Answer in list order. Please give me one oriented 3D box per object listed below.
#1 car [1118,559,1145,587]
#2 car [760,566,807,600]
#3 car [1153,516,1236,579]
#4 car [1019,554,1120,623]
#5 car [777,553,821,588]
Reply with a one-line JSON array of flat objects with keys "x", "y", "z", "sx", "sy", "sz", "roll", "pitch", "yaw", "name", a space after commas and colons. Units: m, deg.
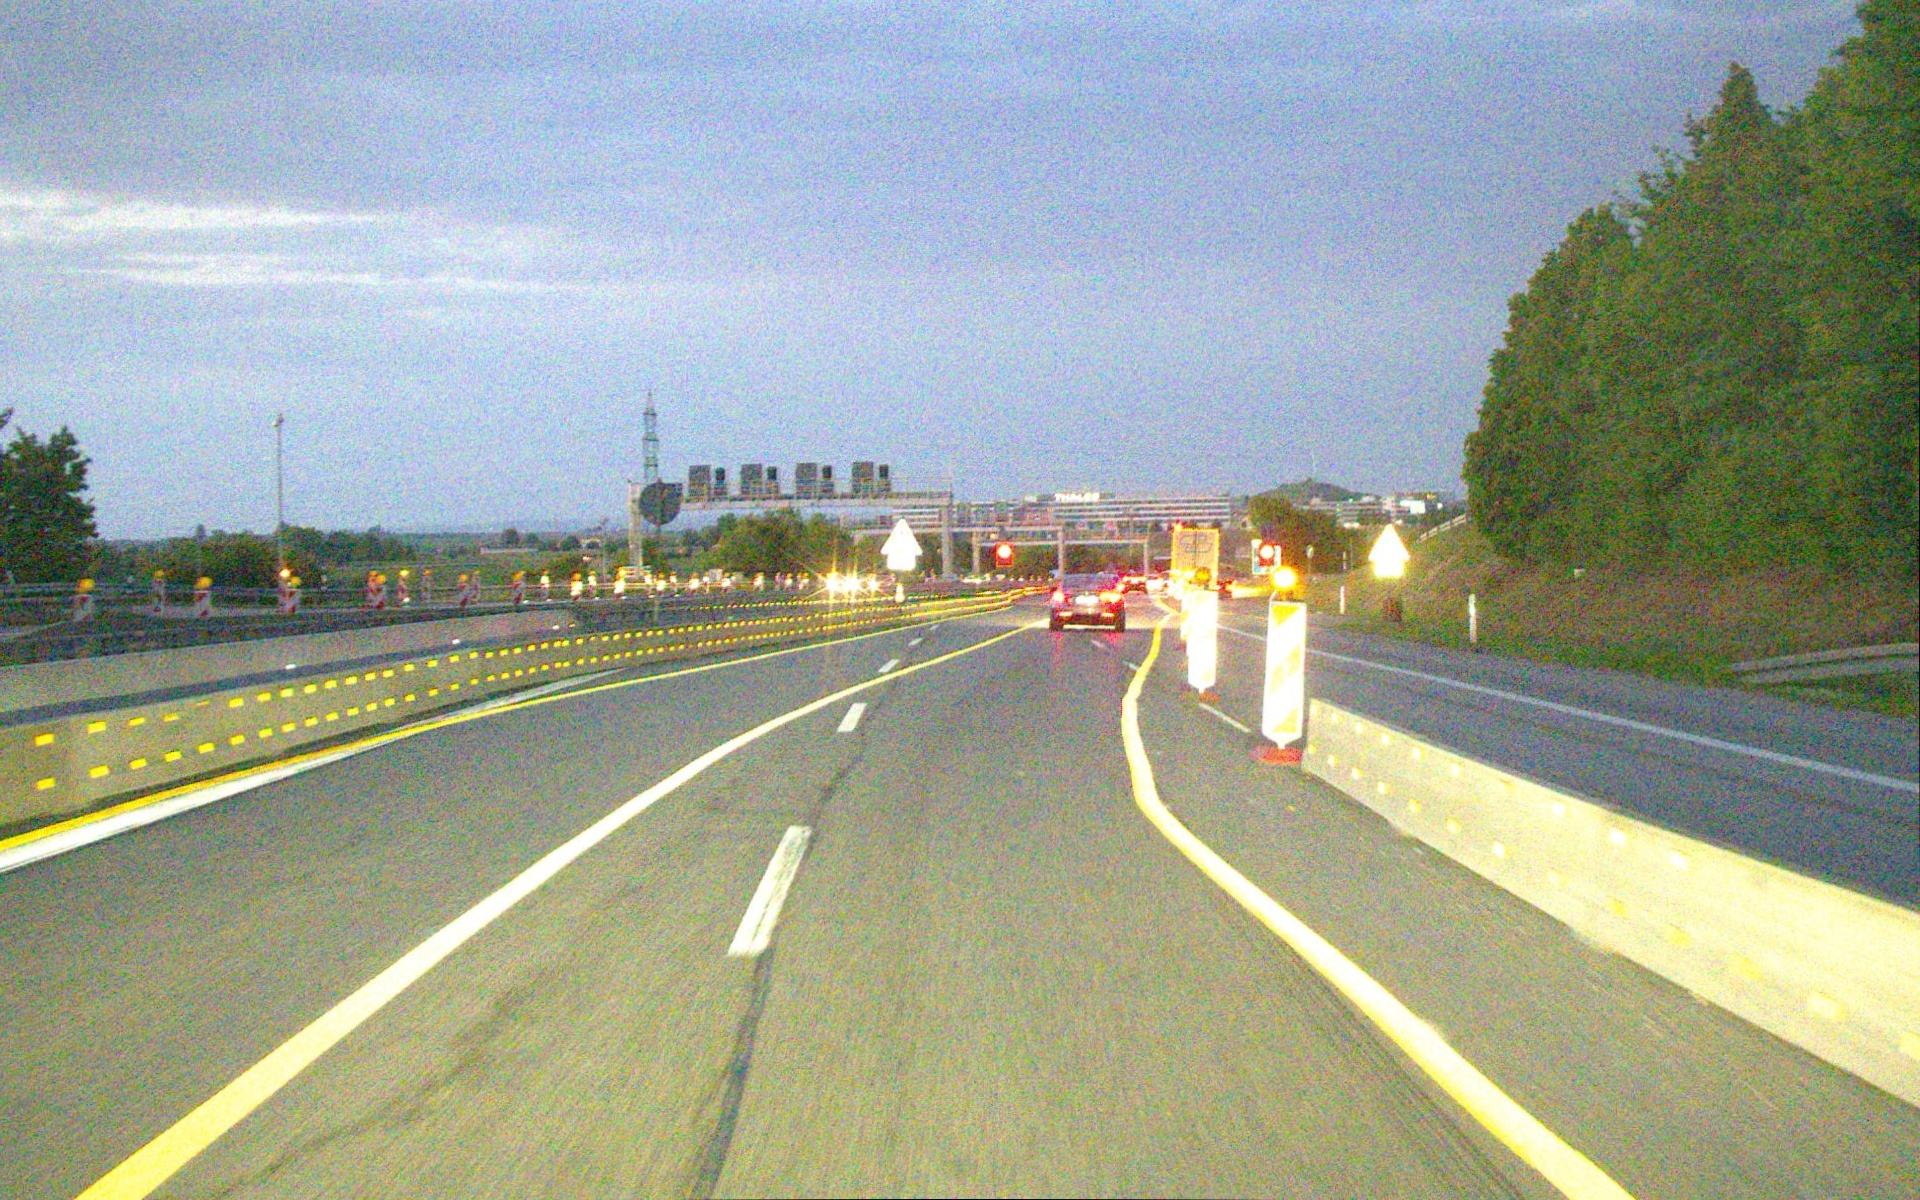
[{"x": 12.937, "y": -2.039, "z": 259.906, "sx": 1.994, "sy": 2.007, "sz": 4.000, "roll": 1, "pitch": 0, "yaw": 3, "name": "car"}, {"x": -9.220, "y": -0.911, "z": 179.597, "sx": 1.994, "sy": 1.708, "sz": 4.000, "roll": 1, "pitch": 0, "yaw": 3, "name": "car"}, {"x": 13.109, "y": -2.931, "z": 192.874, "sx": 3.604, "sy": 3.384, "sz": 8.015, "roll": 1, "pitch": 0, "yaw": -3, "name": "car"}, {"x": 2.708, "y": -0.299, "z": 85.814, "sx": 2.265, "sy": 1.616, "sz": 4.000, "roll": 1, "pitch": 0, "yaw": -1, "name": "car"}, {"x": -8.734, "y": -1.600, "z": 186.628, "sx": 1.994, "sy": 1.821, "sz": 4.000, "roll": 1, "pitch": 0, "yaw": 3, "name": "car"}]
